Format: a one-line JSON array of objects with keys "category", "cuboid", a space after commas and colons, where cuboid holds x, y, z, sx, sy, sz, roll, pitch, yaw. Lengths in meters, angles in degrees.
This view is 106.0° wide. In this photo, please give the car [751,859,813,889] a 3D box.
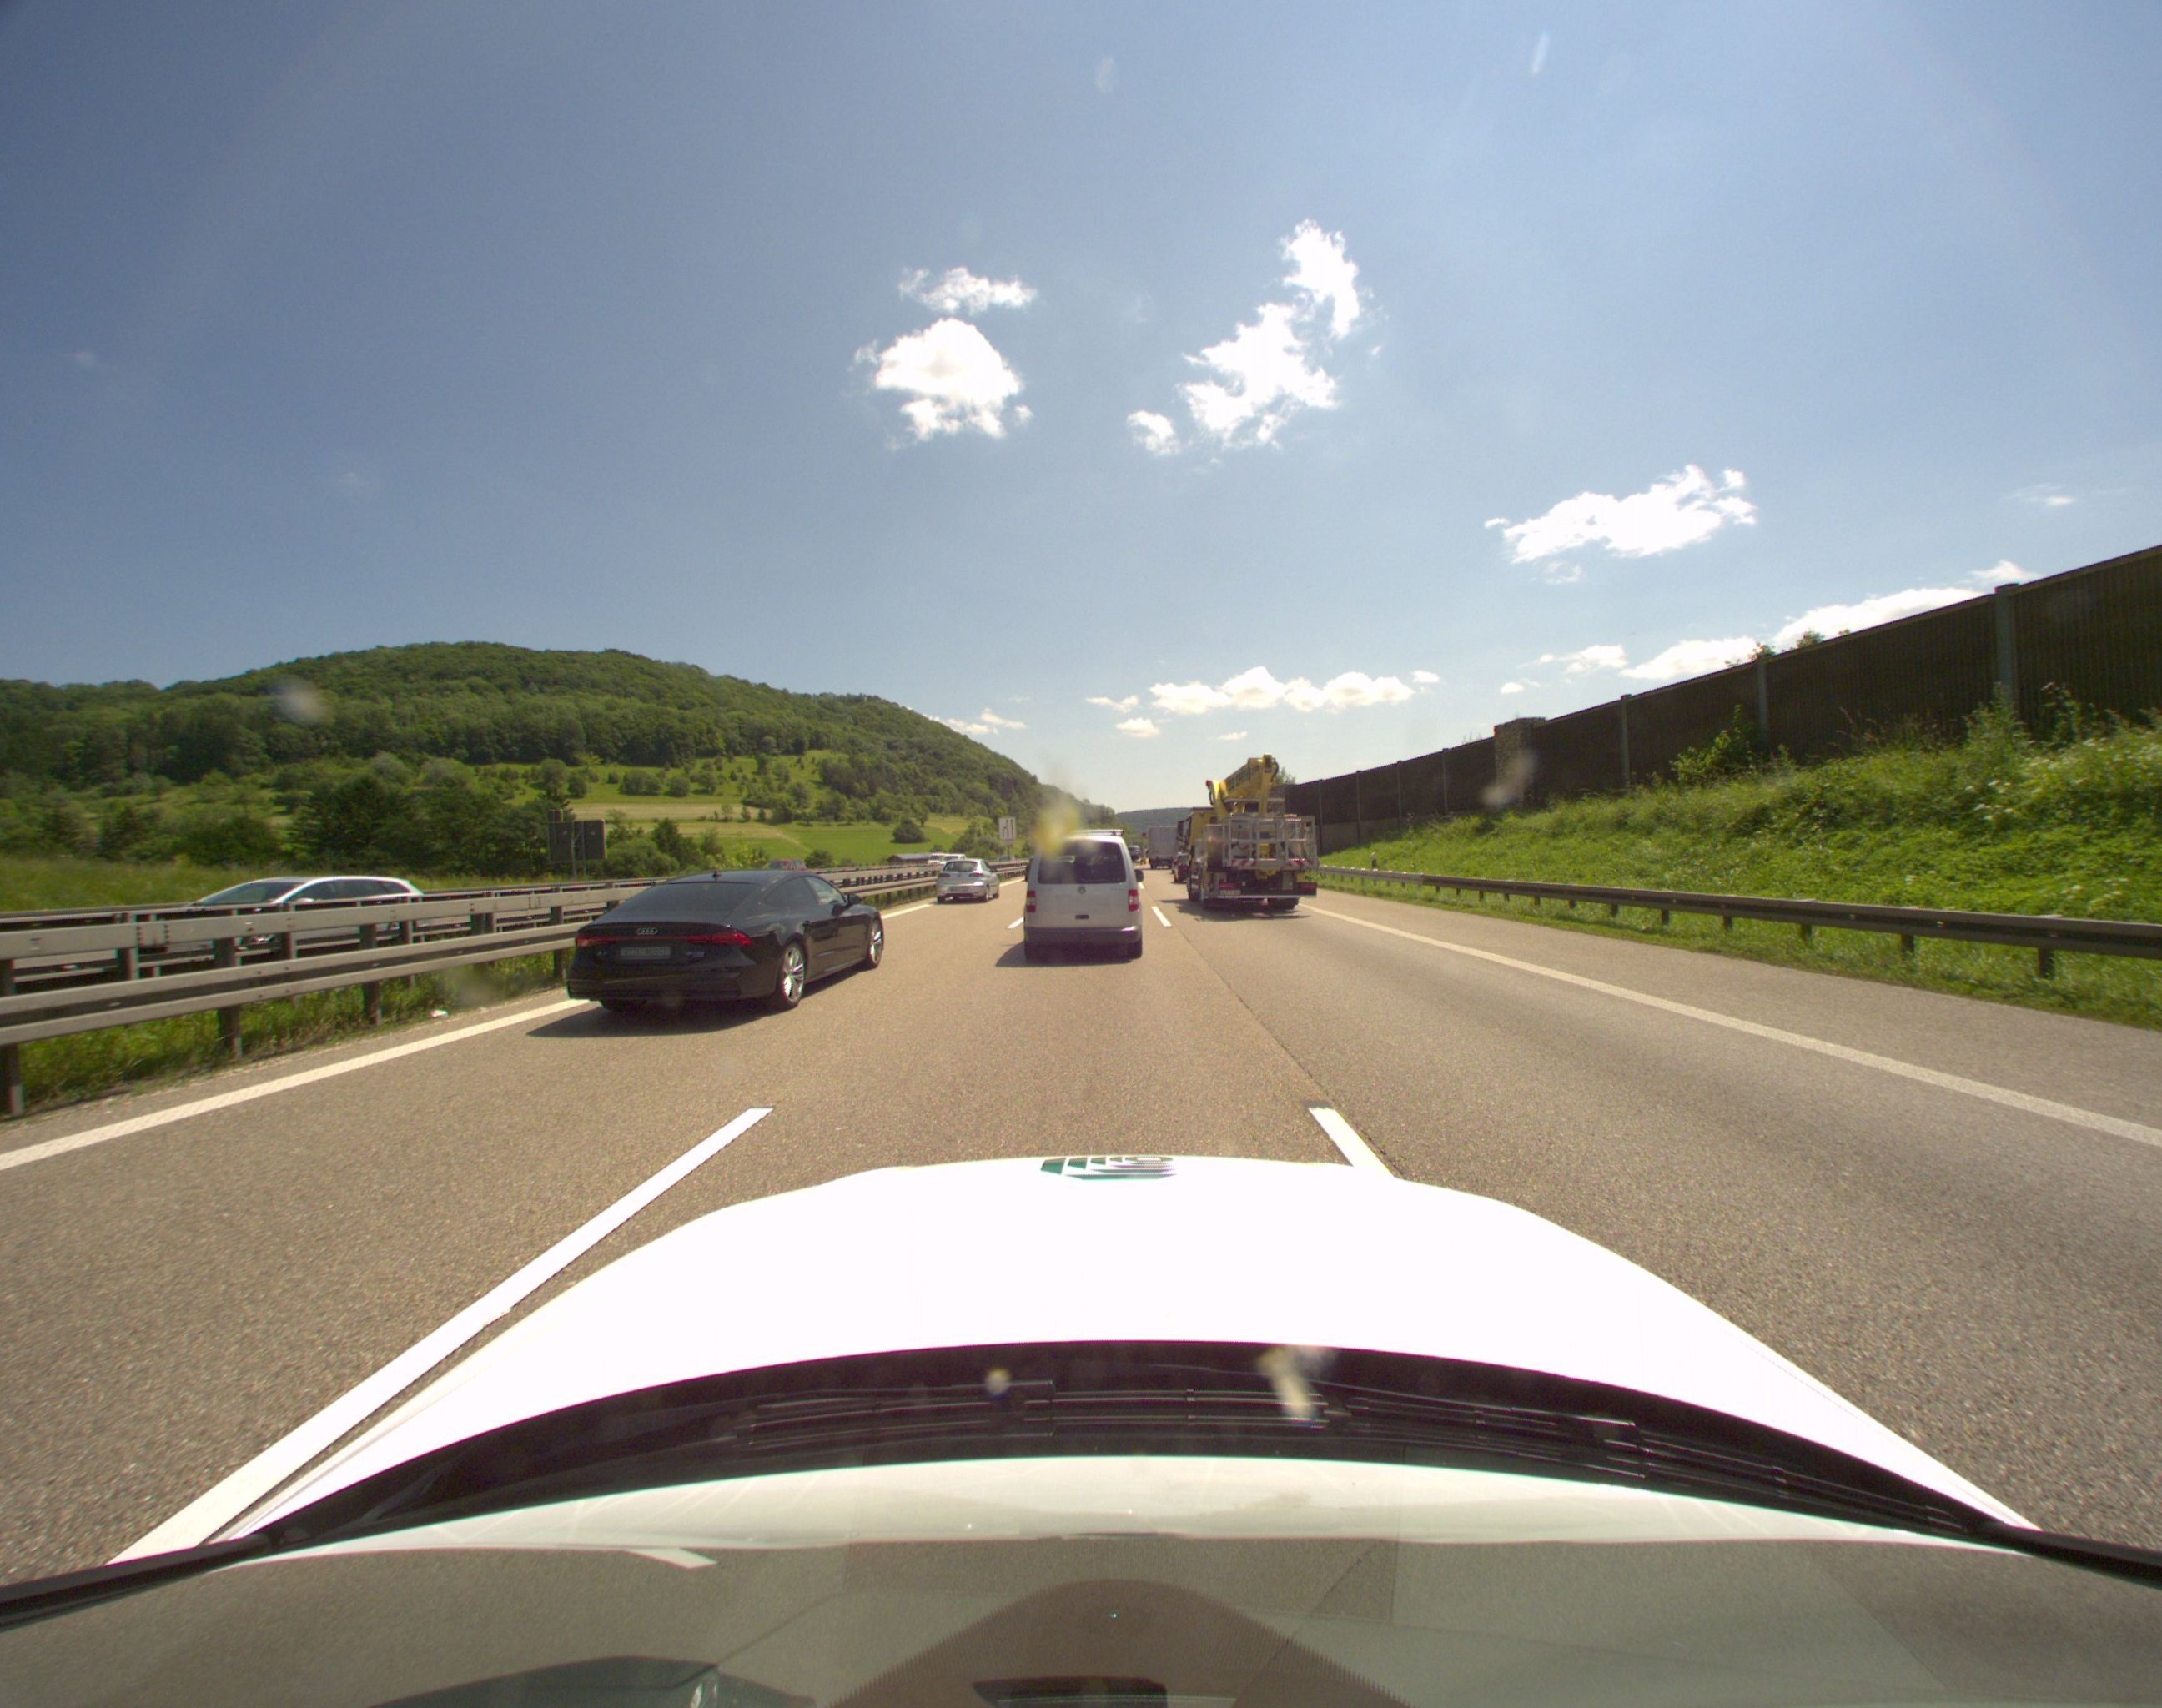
[{"category": "car", "cuboid": [-17.626, 1.148, 48.253, 1.818, 1.644, 4.547, -1, 0, 2]}]

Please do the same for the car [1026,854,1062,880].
[{"category": "car", "cuboid": [-2.188, 0.735, 48.839, 1.918, 1.499, 4.001, -1, 0, 1]}]

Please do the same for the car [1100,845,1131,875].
[{"category": "car", "cuboid": [2.358, 0.403, 56.189, 1.986, 1.975, 4.001, -1, 0, 1]}]

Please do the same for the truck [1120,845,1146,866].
[{"category": "truck", "cuboid": [6.603, 0.136, 103.031, 2.374, 2.541, 5.958, -1, 0, 11]}]

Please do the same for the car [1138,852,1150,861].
[{"category": "car", "cuboid": [12.138, 0.459, 157.120, 1.986, 1.805, 4.002, 0, -1, 2]}]

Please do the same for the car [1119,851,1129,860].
[{"category": "car", "cuboid": [8.733, 0.262, 165.544, 1.986, 1.805, 4.002, 0, -1, 2]}]

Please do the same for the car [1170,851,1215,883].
[{"category": "car", "cuboid": [5.503, 0.611, 40.523, 1.780, 1.458, 3.771, -1, 0, 1]}]

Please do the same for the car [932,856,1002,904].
[{"category": "car", "cuboid": [-3.735, 0.824, 27.372, 1.689, 1.445, 3.863, -1, 0, 1]}]

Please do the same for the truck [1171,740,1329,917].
[{"category": "truck", "cuboid": [4.320, -0.579, 22.844, 2.694, 3.942, 8.723, -1, 0, 1]}]

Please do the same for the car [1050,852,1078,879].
[{"category": "car", "cuboid": [-1.293, 0.901, 64.548, 1.986, 2.013, 4.001, -2, 0, 1]}]

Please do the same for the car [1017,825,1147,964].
[{"category": "car", "cuboid": [0.051, 0.553, 13.213, 1.750, 1.868, 4.001, -1, 0, 1]}]

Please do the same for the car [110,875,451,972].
[{"category": "car", "cuboid": [-14.985, 1.206, 15.720, 1.986, 1.455, 4.529, -1, 0, 2]}]

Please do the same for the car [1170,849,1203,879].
[{"category": "car", "cuboid": [7.471, 0.683, 58.046, 1.986, 2.013, 4.002, -1, 0, 2]}]

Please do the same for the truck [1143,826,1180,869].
[{"category": "truck", "cuboid": [7.538, -0.541, 76.982, 2.929, 3.823, 8.240, 0, -1, 2]}]

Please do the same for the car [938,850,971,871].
[{"category": "car", "cuboid": [-11.647, 0.591, 75.115, 1.986, 1.839, 5.229, -1, 0, 2]}]

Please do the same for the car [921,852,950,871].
[{"category": "car", "cuboid": [-15.550, 0.798, 87.336, 2.052, 1.941, 4.663, -1, 0, 2]}]

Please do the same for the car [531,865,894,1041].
[{"category": "car", "cuboid": [-3.716, 0.880, 9.432, 1.794, 1.390, 4.971, -1, 0, 2]}]
